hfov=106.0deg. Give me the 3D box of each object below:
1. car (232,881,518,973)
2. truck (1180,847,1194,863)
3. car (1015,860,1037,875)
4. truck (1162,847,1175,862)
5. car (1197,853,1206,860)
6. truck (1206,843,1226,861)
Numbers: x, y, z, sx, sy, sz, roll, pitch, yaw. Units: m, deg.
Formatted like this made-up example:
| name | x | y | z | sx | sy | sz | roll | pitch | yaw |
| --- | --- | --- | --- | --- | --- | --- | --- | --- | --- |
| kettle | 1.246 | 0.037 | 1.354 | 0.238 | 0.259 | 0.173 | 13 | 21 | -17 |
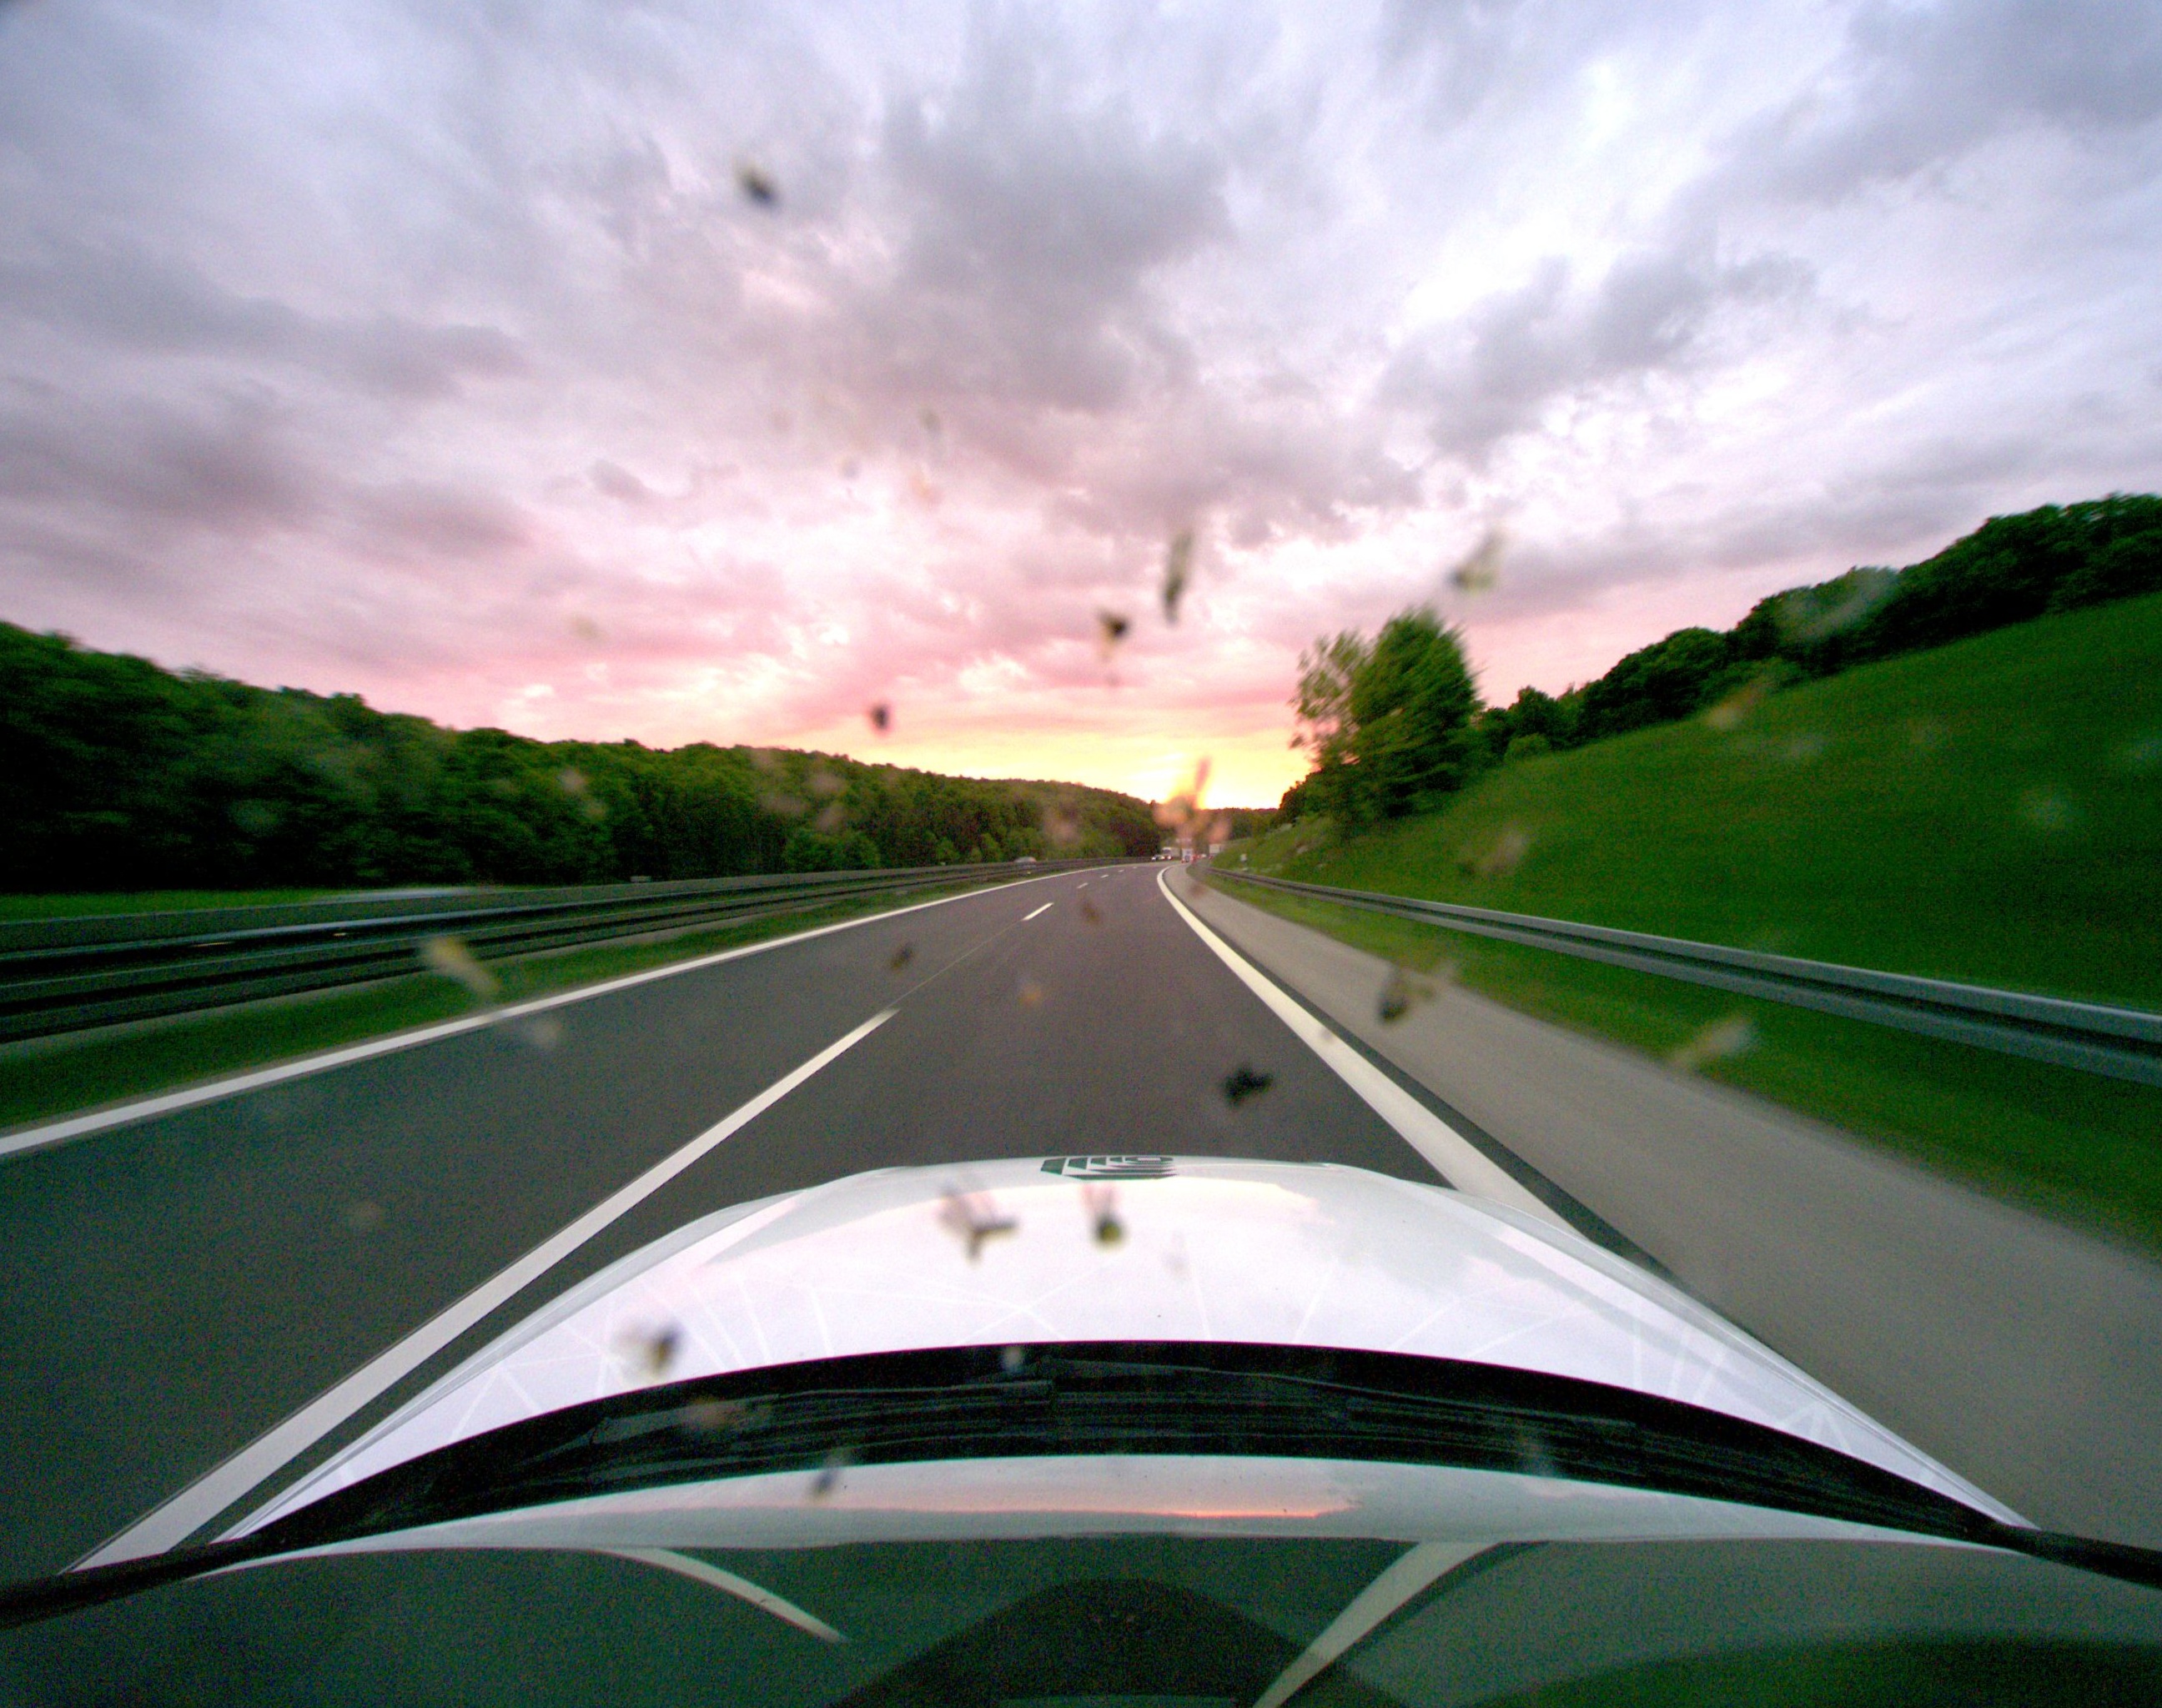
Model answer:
| name | x | y | z | sx | sy | sz | roll | pitch | yaw |
| --- | --- | --- | --- | --- | --- | --- | --- | --- | --- |
| car | -14.604 | 1.422 | 17.316 | 1.790 | 1.442 | 4.682 | -2 | 0 | 3 |
| truck | 20.384 | 0.149 | 156.769 | 2.262 | 2.664 | 5.252 | -3 | 1 | 10 |
| car | -6.580 | 1.547 | 97.138 | 1.743 | 1.640 | 4.487 | -2 | 0 | 7 |
| truck | 26.111 | 0.094 | 243.087 | 2.846 | 4.281 | 10.097 | -1 | 0 | 11 |
| car | 31.970 | 0.670 | 216.394 | 1.979 | 1.517 | 4.015 | -2 | 0 | 14 |
| truck | 35.686 | -0.622 | 214.492 | 3.930 | 4.287 | 14.377 | -2 | 0 | 14 |
